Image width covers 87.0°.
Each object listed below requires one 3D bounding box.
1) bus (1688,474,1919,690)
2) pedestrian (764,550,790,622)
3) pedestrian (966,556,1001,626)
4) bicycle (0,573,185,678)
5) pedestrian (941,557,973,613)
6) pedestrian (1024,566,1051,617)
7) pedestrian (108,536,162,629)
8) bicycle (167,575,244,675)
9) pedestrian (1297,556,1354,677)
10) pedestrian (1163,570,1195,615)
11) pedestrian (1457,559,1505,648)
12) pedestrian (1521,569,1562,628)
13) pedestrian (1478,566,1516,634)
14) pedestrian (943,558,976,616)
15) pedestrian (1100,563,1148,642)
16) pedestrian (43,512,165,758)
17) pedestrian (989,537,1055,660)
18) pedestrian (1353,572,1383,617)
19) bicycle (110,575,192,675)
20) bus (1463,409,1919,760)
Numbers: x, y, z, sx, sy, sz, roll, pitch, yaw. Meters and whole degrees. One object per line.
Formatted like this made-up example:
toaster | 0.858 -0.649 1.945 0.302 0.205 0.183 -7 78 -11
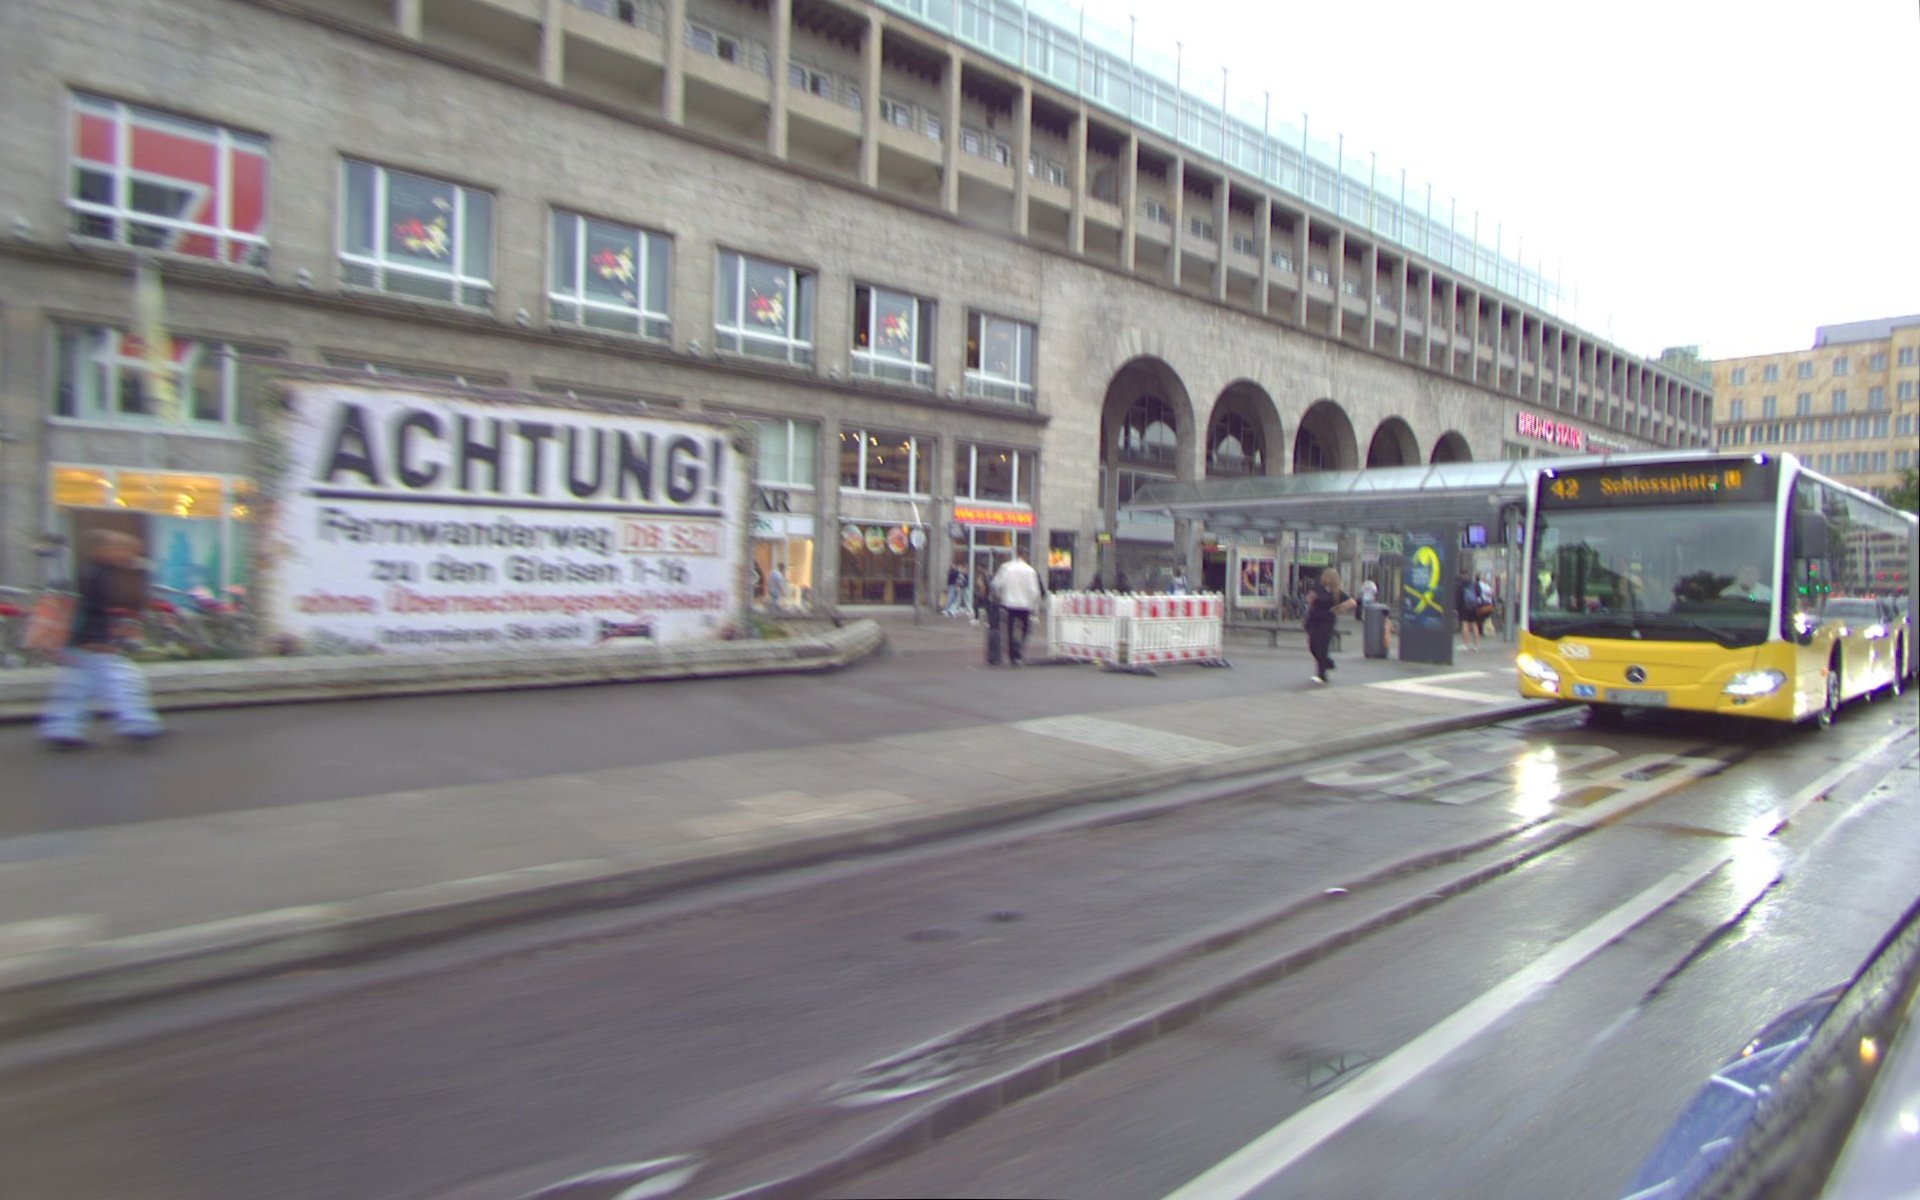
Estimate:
bus | 17.178 -0.367 19.336 8.973 3.288 3.148 -1 1 -40
pedestrian | -5.067 -0.391 28.004 0.576 1.953 0.474 0 1 -25
pedestrian | 0.661 -0.268 28.672 0.781 1.953 0.649 1 1 26
bicycle | -11.273 0.318 12.962 2.144 1.252 0.619 1 2 -5
pedestrian | -0.102 -0.514 33.294 0.973 1.815 0.789 0 1 -3
pedestrian | 2.382 -0.259 31.094 0.682 1.540 0.585 1 1 26
pedestrian | -15.635 -0.331 19.183 0.762 1.717 0.723 -1 0 -41
bicycle | -10.667 0.308 14.359 0.605 1.252 1.999 0 3 -29
pedestrian | 5.067 0.217 14.027 0.592 1.639 0.504 0 0 40
pedestrian | 7.994 -0.286 36.956 0.973 1.609 0.789 0 1 -3
pedestrian | 11.714 0.070 22.748 0.792 1.953 0.695 1 1 40
pedestrian | 17.320 -0.046 30.154 0.885 1.716 0.751 0 1 -36
pedestrian | 14.862 -0.016 28.033 0.780 1.827 0.985 1 1 22
pedestrian | -0.022 -0.429 32.501 0.973 1.815 0.789 0 1 -3
pedestrian | 3.899 0.038 24.048 0.981 1.815 0.783 1 1 22
pedestrian | -6.027 0.224 7.156 0.491 1.639 0.654 0 1 -25
pedestrian | 0.942 -0.039 15.474 0.741 1.815 0.736 0 1 -25
pedestrian | 15.156 -0.226 37.583 0.792 1.639 0.859 1 2 40
bicycle | -11.483 0.314 14.422 0.605 1.252 1.999 0 3 -30
bus | 10.292 -0.237 13.496 9.080 3.245 3.119 -1 1 -40
